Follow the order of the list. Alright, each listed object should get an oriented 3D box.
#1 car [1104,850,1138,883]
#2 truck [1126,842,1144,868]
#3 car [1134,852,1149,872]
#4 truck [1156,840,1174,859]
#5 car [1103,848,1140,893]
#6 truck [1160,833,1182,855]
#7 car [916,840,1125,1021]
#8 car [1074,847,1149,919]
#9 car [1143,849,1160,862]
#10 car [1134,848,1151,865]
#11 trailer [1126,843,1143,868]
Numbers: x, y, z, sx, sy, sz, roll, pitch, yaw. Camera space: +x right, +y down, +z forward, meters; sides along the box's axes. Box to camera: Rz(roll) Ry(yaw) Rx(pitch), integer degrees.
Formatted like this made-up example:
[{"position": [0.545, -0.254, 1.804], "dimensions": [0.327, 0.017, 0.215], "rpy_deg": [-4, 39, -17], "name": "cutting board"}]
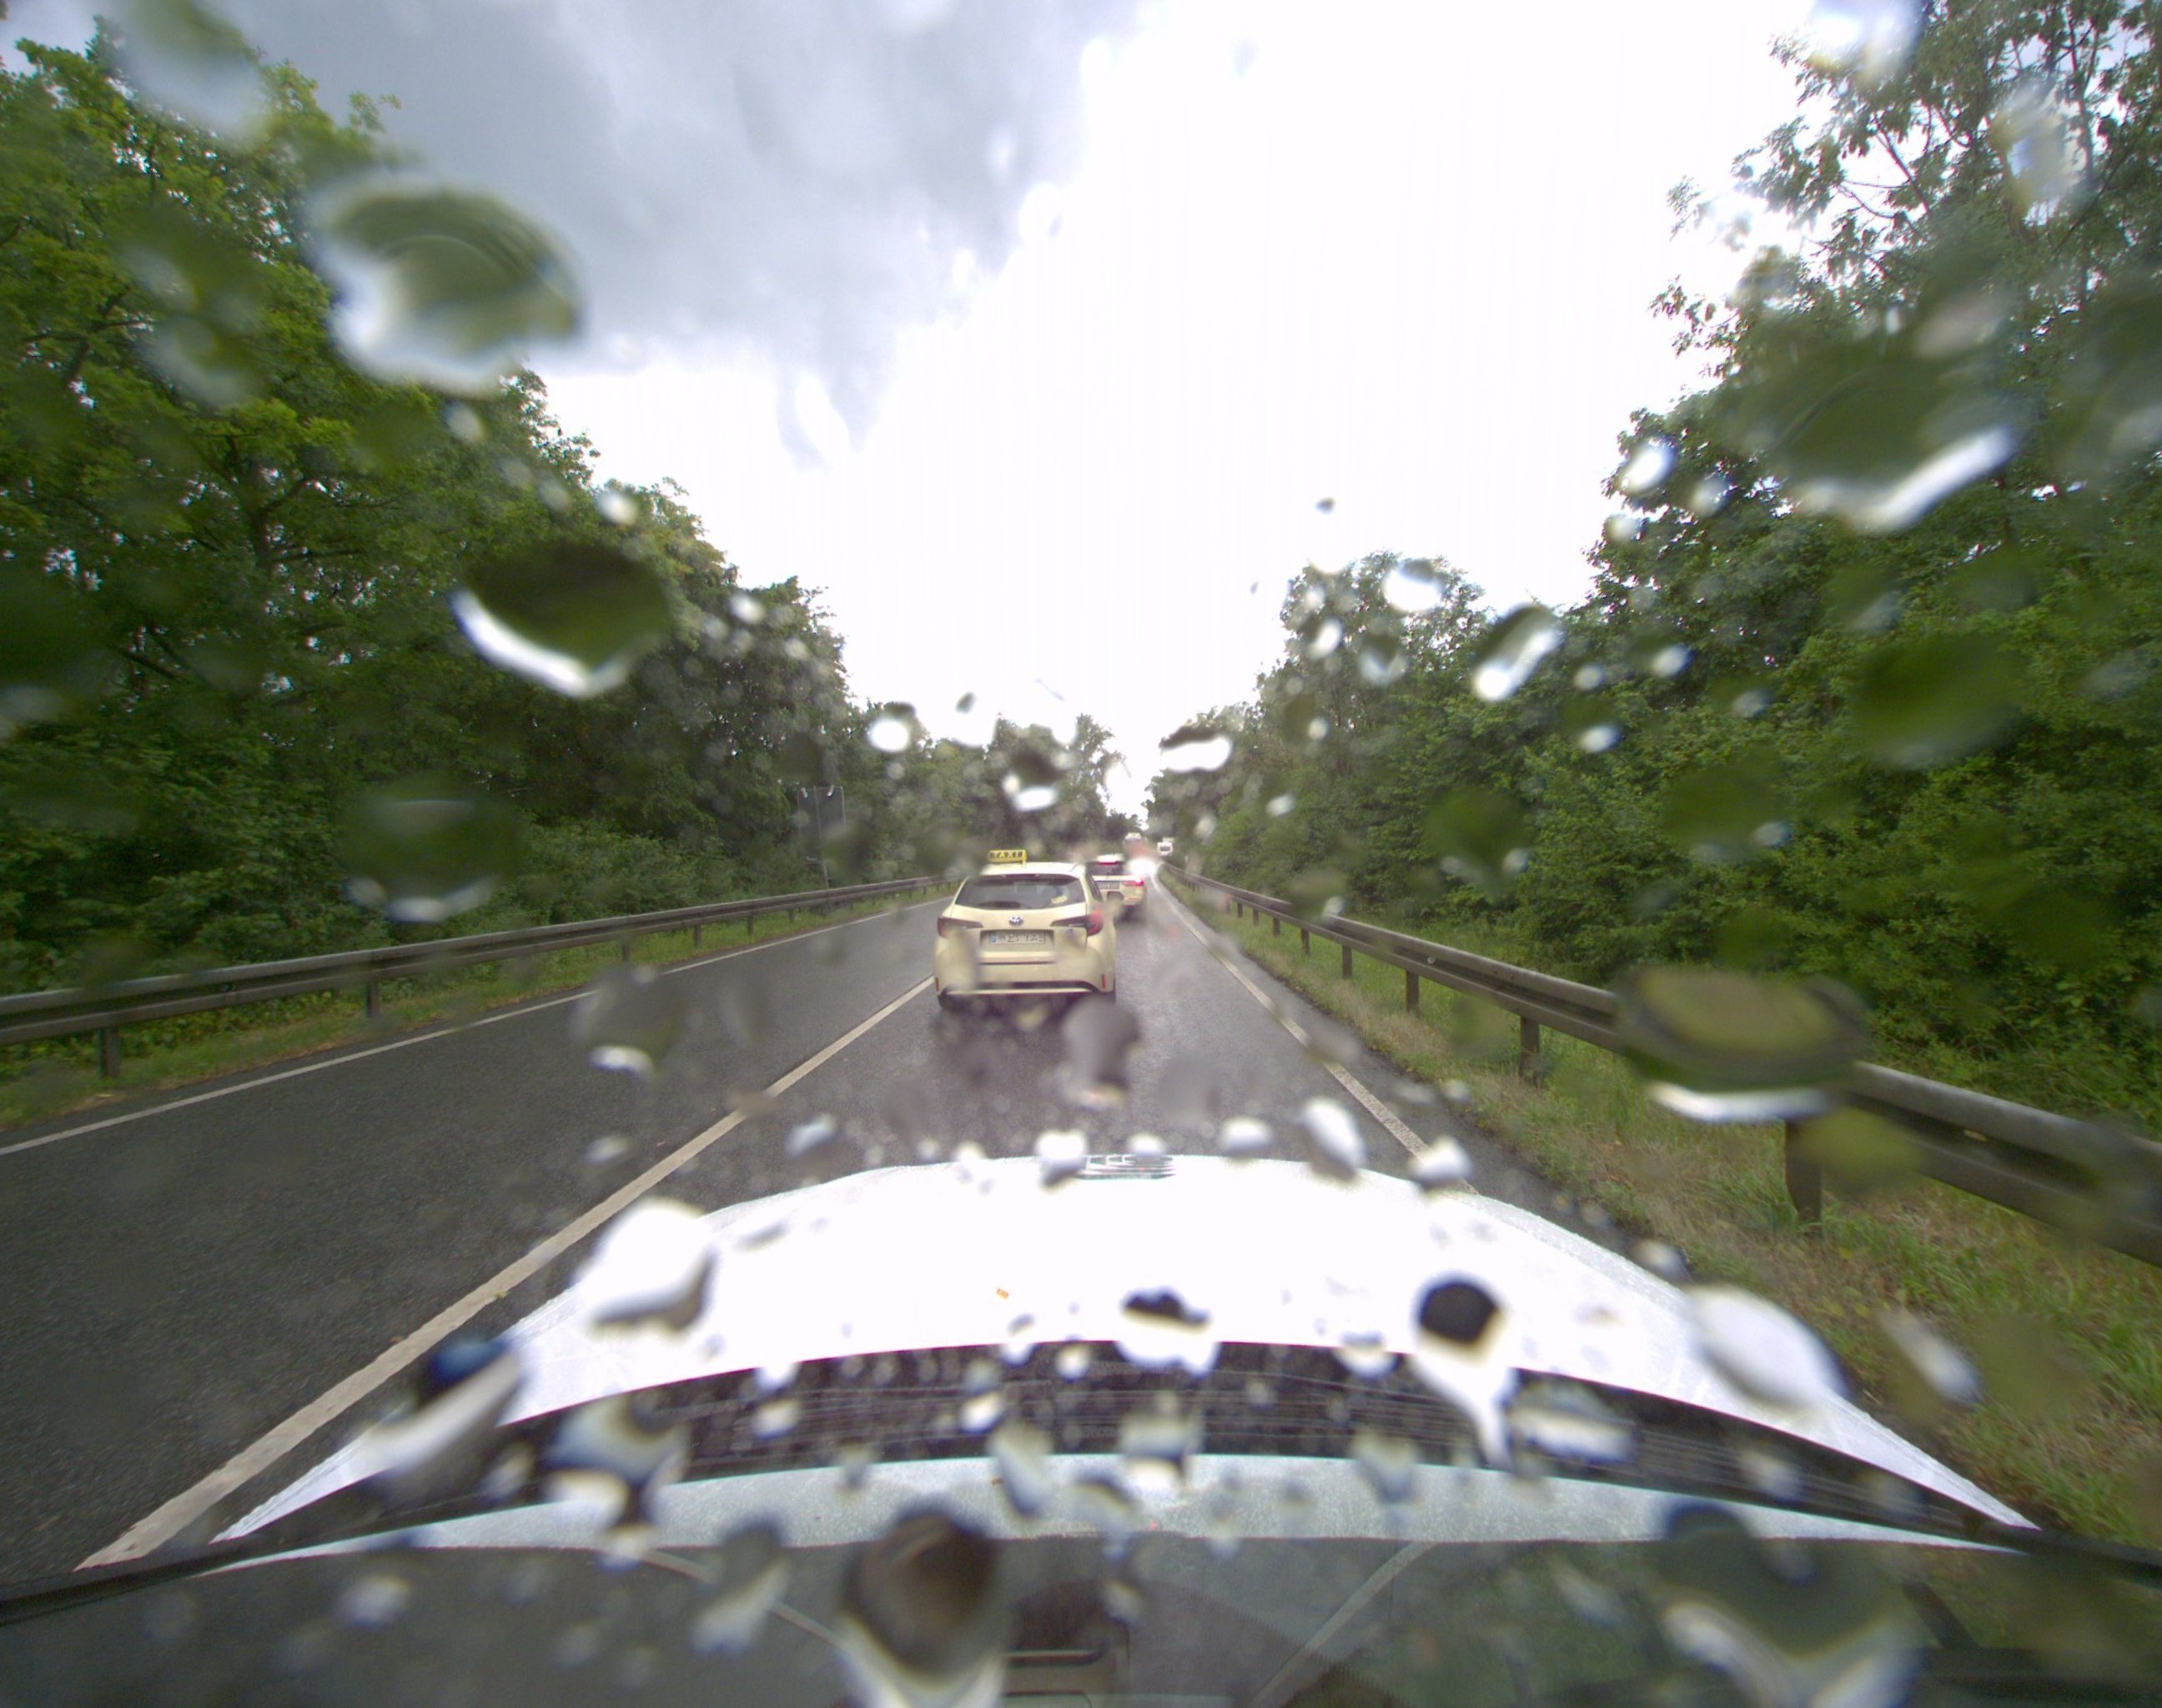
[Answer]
[{"position": [2.078, 0.610, 41.463], "dimensions": [1.604, 1.547, 3.818], "rpy_deg": [-1, 0, 4], "name": "car"}, {"position": [8.198, 0.159, 123.961], "dimensions": [2.526, 3.825, 5.248], "rpy_deg": [0, -1, 2], "name": "truck"}, {"position": [4.836, 0.616, 65.007], "dimensions": [1.161, 1.547, 2.607], "rpy_deg": [-1, -1, 5], "name": "car"}, {"position": [12.446, -0.659, 121.398], "dimensions": [2.537, 2.713, 7.546], "rpy_deg": [-1, 0, 5], "name": "truck"}, {"position": [1.485, 0.593, 30.152], "dimensions": [1.295, 1.547, 3.261], "rpy_deg": [0, 0, 2], "name": "car"}, {"position": [15.536, -1.614, 139.976], "dimensions": [3.087, 3.680, 7.021], "rpy_deg": [-1, -1, 11], "name": "truck"}, {"position": [-0.472, 0.690, 9.240], "dimensions": [1.827, 1.580, 4.158], "rpy_deg": [0, 0, 2], "name": "car"}, {"position": [0.798, 0.648, 19.935], "dimensions": [1.660, 1.580, 3.896], "rpy_deg": [0, 0, 4], "name": "car"}, {"position": [8.552, 0.181, 99.113], "dimensions": [1.759, 1.547, 3.824], "rpy_deg": [-1, 0, 9], "name": "car"}, {"position": [5.962, 0.277, 78.866], "dimensions": [1.609, 1.613, 3.625], "rpy_deg": [0, 0, 3], "name": "car"}, {"position": [8.480, 0.197, 129.345], "dimensions": [2.525, 3.825, 7.799], "rpy_deg": [0, 0, 4], "name": "trailer"}]
